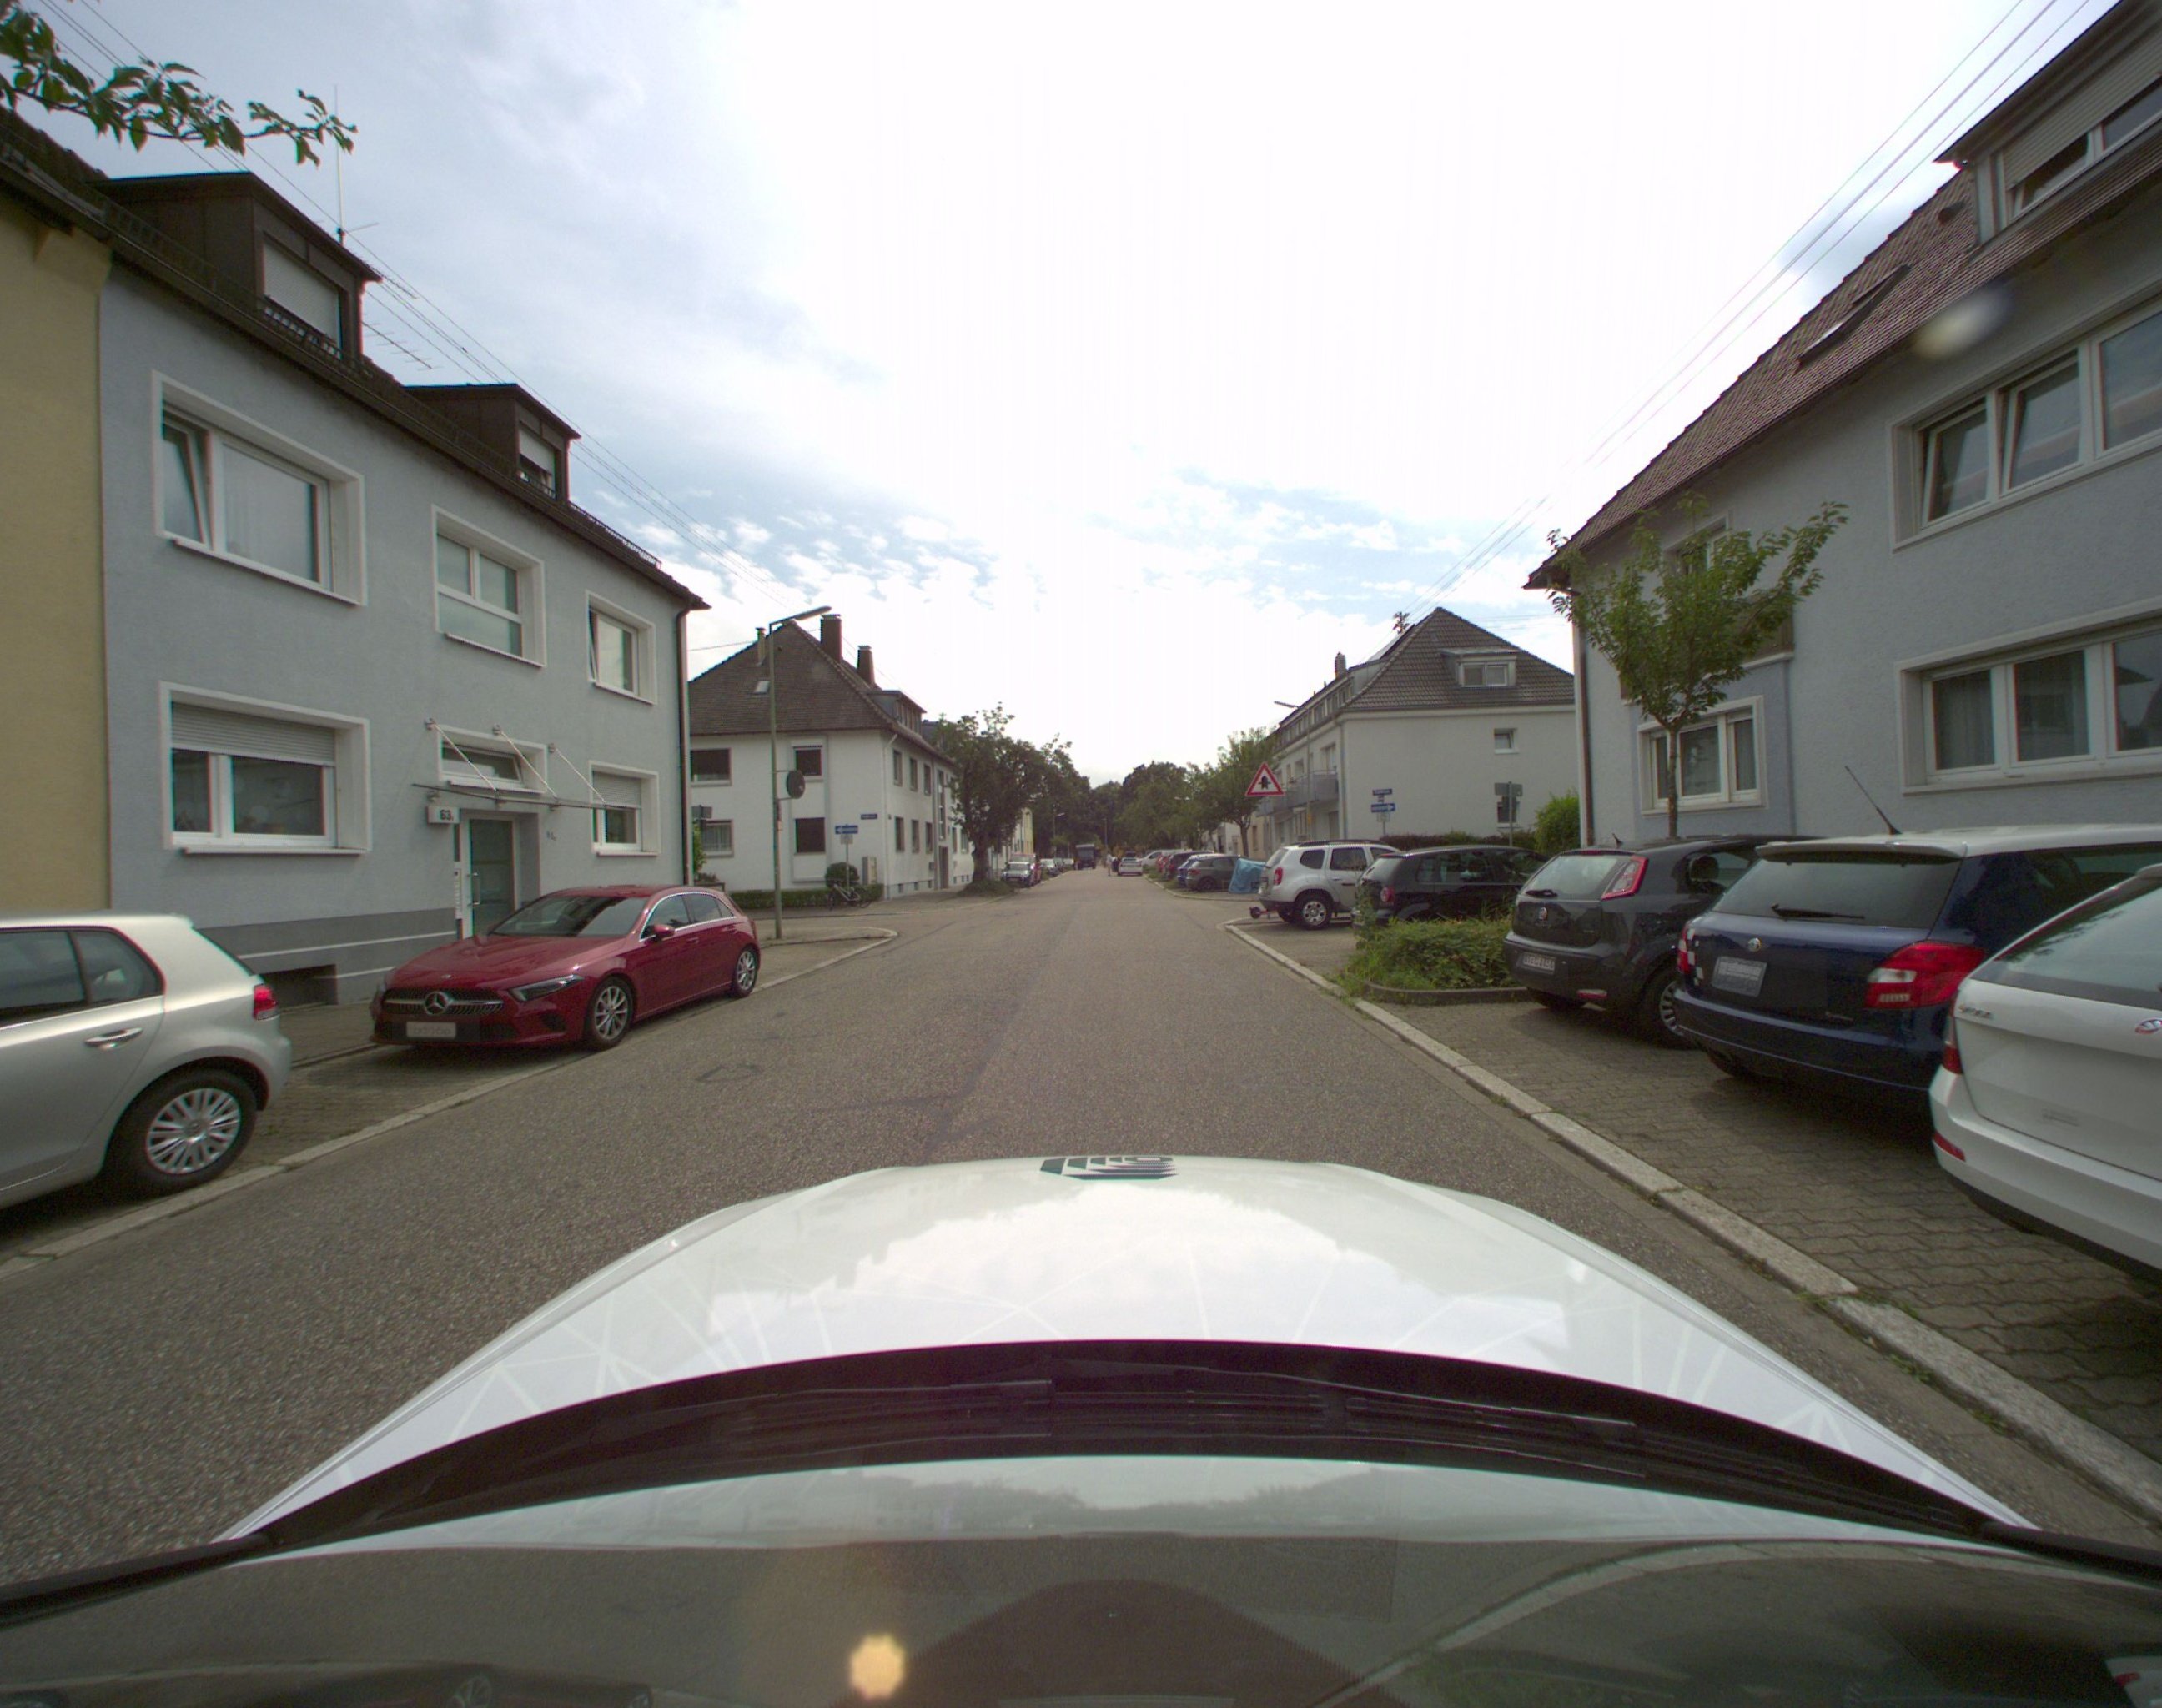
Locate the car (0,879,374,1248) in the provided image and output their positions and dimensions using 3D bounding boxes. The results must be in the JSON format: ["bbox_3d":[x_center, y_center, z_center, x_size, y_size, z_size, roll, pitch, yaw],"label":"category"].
[{"bbox_3d":[-5.387,0.897,2.899,1.764,1.392,4.278,3,0,3],"label":"car"}]

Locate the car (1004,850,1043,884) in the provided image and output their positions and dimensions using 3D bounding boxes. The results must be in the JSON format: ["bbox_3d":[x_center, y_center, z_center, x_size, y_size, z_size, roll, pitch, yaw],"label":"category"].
[{"bbox_3d":[-3.615,0.817,52.064,1.986,2.013,4.522,-2,0,2],"label":"car"}]

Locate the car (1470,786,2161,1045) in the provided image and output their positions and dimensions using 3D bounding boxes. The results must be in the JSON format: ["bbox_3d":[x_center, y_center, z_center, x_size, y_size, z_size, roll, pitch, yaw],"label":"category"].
[{"bbox_3d":[5.535,0.435,6.485,3.972,1.508,1.713,-4,0,2],"label":"car"}]

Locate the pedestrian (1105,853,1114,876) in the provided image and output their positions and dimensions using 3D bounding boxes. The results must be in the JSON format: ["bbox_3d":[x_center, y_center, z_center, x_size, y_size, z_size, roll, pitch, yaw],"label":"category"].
[{"bbox_3d":[2.219,0.793,62.989,0.519,1.704,0.445,-4,-1,6],"label":"pedestrian"}]

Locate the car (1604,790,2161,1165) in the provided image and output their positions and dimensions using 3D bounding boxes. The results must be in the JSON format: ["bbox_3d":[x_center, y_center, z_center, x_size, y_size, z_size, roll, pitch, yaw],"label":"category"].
[{"bbox_3d":[5.376,0.453,4.347,3.972,1.508,1.713,-4,0,2],"label":"car"}]

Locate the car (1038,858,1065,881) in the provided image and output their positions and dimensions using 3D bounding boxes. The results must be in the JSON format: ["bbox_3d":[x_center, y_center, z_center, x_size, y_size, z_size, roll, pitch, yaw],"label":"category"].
[{"bbox_3d":[-2.104,1.078,58.654,1.645,1.461,3.553,-4,0,2],"label":"car"}]

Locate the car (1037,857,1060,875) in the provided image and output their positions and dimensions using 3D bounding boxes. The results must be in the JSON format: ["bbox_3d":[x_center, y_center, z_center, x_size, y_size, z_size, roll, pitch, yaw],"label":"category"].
[{"bbox_3d":[-2.759,1.017,69.764,1.646,1.377,3.721,-4,0,0],"label":"car"}]

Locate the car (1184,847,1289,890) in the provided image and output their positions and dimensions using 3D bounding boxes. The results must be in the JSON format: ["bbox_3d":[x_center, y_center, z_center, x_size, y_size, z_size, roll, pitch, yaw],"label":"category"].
[{"bbox_3d":[5.947,0.542,31.535,3.732,1.365,1.774,-4,0,3],"label":"car"}]

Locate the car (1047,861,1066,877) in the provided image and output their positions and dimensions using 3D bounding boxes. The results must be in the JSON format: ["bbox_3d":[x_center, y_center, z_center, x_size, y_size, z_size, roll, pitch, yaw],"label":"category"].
[{"bbox_3d":[-2.245,1.354,74.813,1.534,1.301,3.721,-4,0,0],"label":"car"}]

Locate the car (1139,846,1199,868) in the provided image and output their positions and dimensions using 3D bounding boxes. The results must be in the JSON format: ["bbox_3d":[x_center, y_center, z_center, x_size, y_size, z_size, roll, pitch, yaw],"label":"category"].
[{"bbox_3d":[7.733,0.283,71.884,4.959,1.518,1.768,-4,0,0],"label":"car"}]

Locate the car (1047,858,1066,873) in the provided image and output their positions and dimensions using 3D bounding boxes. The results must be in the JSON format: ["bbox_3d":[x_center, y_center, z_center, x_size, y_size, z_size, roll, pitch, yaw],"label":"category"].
[{"bbox_3d":[-2.455,1.120,83.542,1.645,1.377,3.723,-4,0,2],"label":"car"}]

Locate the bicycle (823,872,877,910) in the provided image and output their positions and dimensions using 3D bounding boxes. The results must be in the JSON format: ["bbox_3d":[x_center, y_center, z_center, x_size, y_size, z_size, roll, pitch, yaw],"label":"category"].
[{"bbox_3d":[-7.914,1.258,27.898,1.629,1.179,0.435,-4,-1,-2],"label":"bicycle"}]

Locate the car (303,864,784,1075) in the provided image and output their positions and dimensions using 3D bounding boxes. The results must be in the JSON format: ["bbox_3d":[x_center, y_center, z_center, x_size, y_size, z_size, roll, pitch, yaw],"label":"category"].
[{"bbox_3d":[-5.047,0.934,8.638,1.870,1.486,4.515,-4,0,2],"label":"car"}]

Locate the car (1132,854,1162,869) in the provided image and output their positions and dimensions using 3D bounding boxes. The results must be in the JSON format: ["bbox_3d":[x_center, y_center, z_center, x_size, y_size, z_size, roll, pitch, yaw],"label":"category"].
[{"bbox_3d":[8.183,0.920,100.916,3.515,1.602,1.774,-4,0,3],"label":"car"}]

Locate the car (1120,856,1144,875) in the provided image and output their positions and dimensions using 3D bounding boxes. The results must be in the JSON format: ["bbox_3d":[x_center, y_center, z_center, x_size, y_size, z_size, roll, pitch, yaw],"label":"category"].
[{"bbox_3d":[3.987,0.891,63.579,1.680,1.354,3.830,-4,0,3],"label":"car"}]

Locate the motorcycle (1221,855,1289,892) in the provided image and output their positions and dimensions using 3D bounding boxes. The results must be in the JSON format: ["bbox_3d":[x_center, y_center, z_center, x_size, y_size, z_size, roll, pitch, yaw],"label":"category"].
[{"bbox_3d":[6.198,0.692,29.058,2.186,1.210,0.940,-2,0,0],"label":"motorcycle"}]

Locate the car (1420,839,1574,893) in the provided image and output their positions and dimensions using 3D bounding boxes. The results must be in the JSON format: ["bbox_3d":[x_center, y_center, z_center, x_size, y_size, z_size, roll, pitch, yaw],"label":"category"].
[{"bbox_3d":[12.577,0.365,24.795,3.787,1.443,1.664,-2,0,2],"label":"car"}]

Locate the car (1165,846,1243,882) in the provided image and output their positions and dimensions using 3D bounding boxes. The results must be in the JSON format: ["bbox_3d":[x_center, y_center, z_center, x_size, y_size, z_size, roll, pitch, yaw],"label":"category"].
[{"bbox_3d":[6.309,0.514,41.934,3.732,1.564,1.774,-4,0,3],"label":"car"}]

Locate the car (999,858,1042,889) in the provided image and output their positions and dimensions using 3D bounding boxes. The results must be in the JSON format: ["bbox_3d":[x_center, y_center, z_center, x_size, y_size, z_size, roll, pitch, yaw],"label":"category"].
[{"bbox_3d":[-3.403,1.085,46.543,1.755,1.554,3.736,-4,0,6],"label":"car"}]

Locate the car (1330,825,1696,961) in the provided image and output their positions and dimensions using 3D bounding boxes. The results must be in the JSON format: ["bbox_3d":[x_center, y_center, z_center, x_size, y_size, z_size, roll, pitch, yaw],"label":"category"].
[{"bbox_3d":[5.653,0.495,11.048,3.972,1.421,1.713,-4,0,2],"label":"car"}]

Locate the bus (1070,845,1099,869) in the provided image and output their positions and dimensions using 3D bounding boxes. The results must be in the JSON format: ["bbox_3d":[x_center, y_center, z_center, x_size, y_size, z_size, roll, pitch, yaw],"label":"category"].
[{"bbox_3d":[0.558,0.411,103.836,2.991,2.761,8.932,-4,0,3],"label":"bus"}]

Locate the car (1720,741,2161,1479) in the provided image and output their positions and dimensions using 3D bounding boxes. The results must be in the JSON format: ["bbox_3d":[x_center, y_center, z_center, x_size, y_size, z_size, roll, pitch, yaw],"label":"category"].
[{"bbox_3d":[4.695,0.417,2.008,4.596,1.664,1.894,-4,0,3],"label":"car"}]

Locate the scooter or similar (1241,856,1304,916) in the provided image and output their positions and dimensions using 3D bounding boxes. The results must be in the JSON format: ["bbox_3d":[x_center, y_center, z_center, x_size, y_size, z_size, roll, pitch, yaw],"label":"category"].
[{"bbox_3d":[4.337,0.716,18.439,1.239,1.243,0.420,-4,-1,-11],"label":"scooter or similar"}]

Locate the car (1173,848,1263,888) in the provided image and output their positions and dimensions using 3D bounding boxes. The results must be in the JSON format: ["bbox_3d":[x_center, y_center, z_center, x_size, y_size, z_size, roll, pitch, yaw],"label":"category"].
[{"bbox_3d":[5.704,0.576,34.213,3.504,1.412,1.559,-4,0,2],"label":"car"}]

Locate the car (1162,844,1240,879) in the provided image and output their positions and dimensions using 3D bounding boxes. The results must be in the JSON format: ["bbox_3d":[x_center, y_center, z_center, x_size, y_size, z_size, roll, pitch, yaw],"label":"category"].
[{"bbox_3d":[6.522,0.404,44.493,3.971,1.618,1.868,-4,0,3],"label":"car"}]

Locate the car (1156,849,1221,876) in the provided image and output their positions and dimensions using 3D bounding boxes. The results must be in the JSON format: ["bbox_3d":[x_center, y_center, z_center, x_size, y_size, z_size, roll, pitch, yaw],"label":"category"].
[{"bbox_3d":[6.930,0.575,52.915,3.972,1.438,1.723,-4,0,2],"label":"car"}]

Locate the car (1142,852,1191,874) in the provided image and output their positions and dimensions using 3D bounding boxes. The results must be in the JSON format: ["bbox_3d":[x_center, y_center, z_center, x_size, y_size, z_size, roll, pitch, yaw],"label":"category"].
[{"bbox_3d":[7.261,0.764,69.620,3.972,1.518,1.723,-4,0,2],"label":"car"}]

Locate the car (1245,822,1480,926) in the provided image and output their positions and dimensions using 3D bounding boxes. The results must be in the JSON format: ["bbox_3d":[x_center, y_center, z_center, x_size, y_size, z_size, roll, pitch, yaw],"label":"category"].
[{"bbox_3d":[5.364,0.382,15.962,3.907,1.633,1.869,-4,0,3],"label":"car"}]
